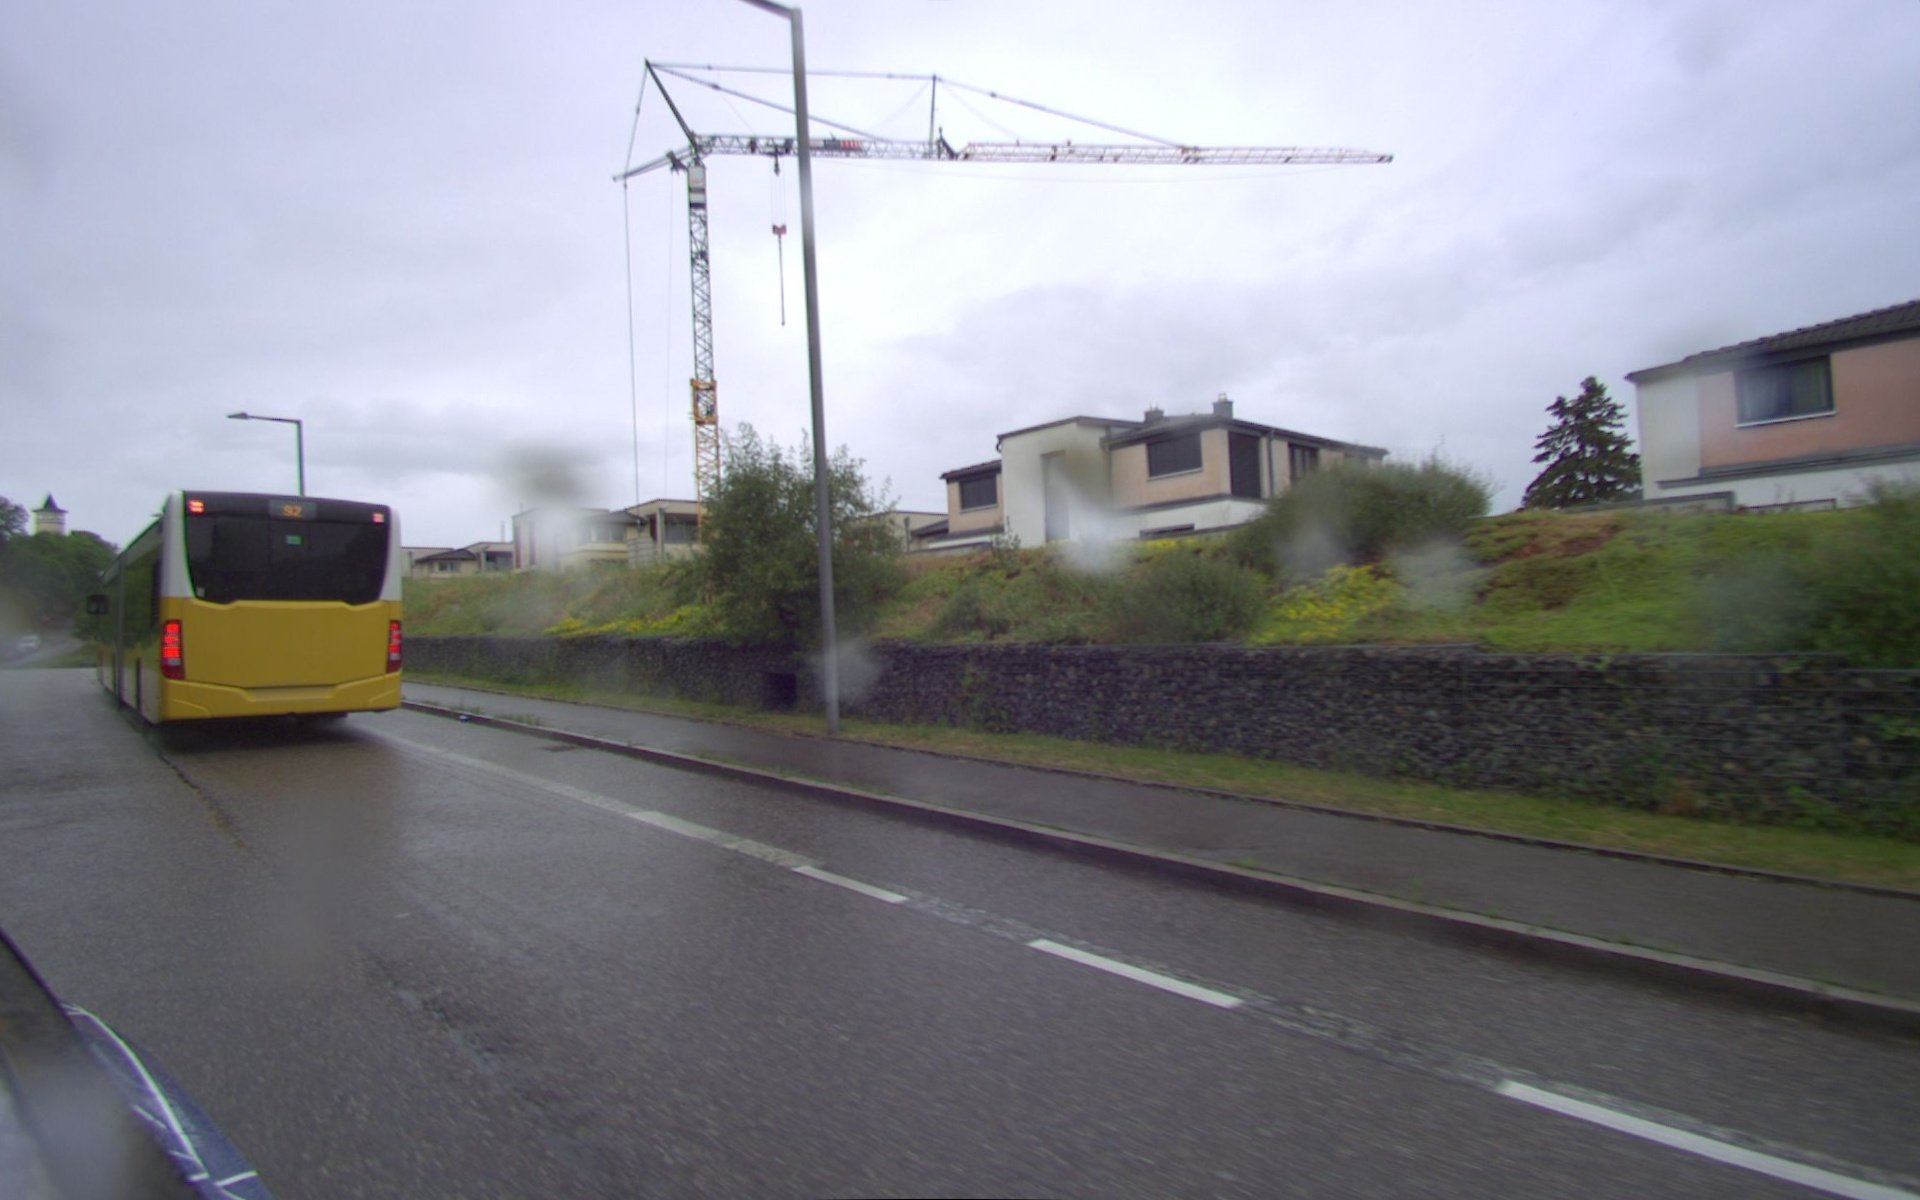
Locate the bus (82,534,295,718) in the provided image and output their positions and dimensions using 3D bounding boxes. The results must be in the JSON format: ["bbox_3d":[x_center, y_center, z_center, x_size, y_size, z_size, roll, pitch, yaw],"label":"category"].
[{"bbox_3d":[-16.986,0.624,21.866,2.608,3.091,10.866,1,-3,-43],"label":"bus"}]

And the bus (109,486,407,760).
[{"bbox_3d":[-10.701,0.342,15.025,2.608,3.055,7.674,0,-2,-43],"label":"bus"}]
